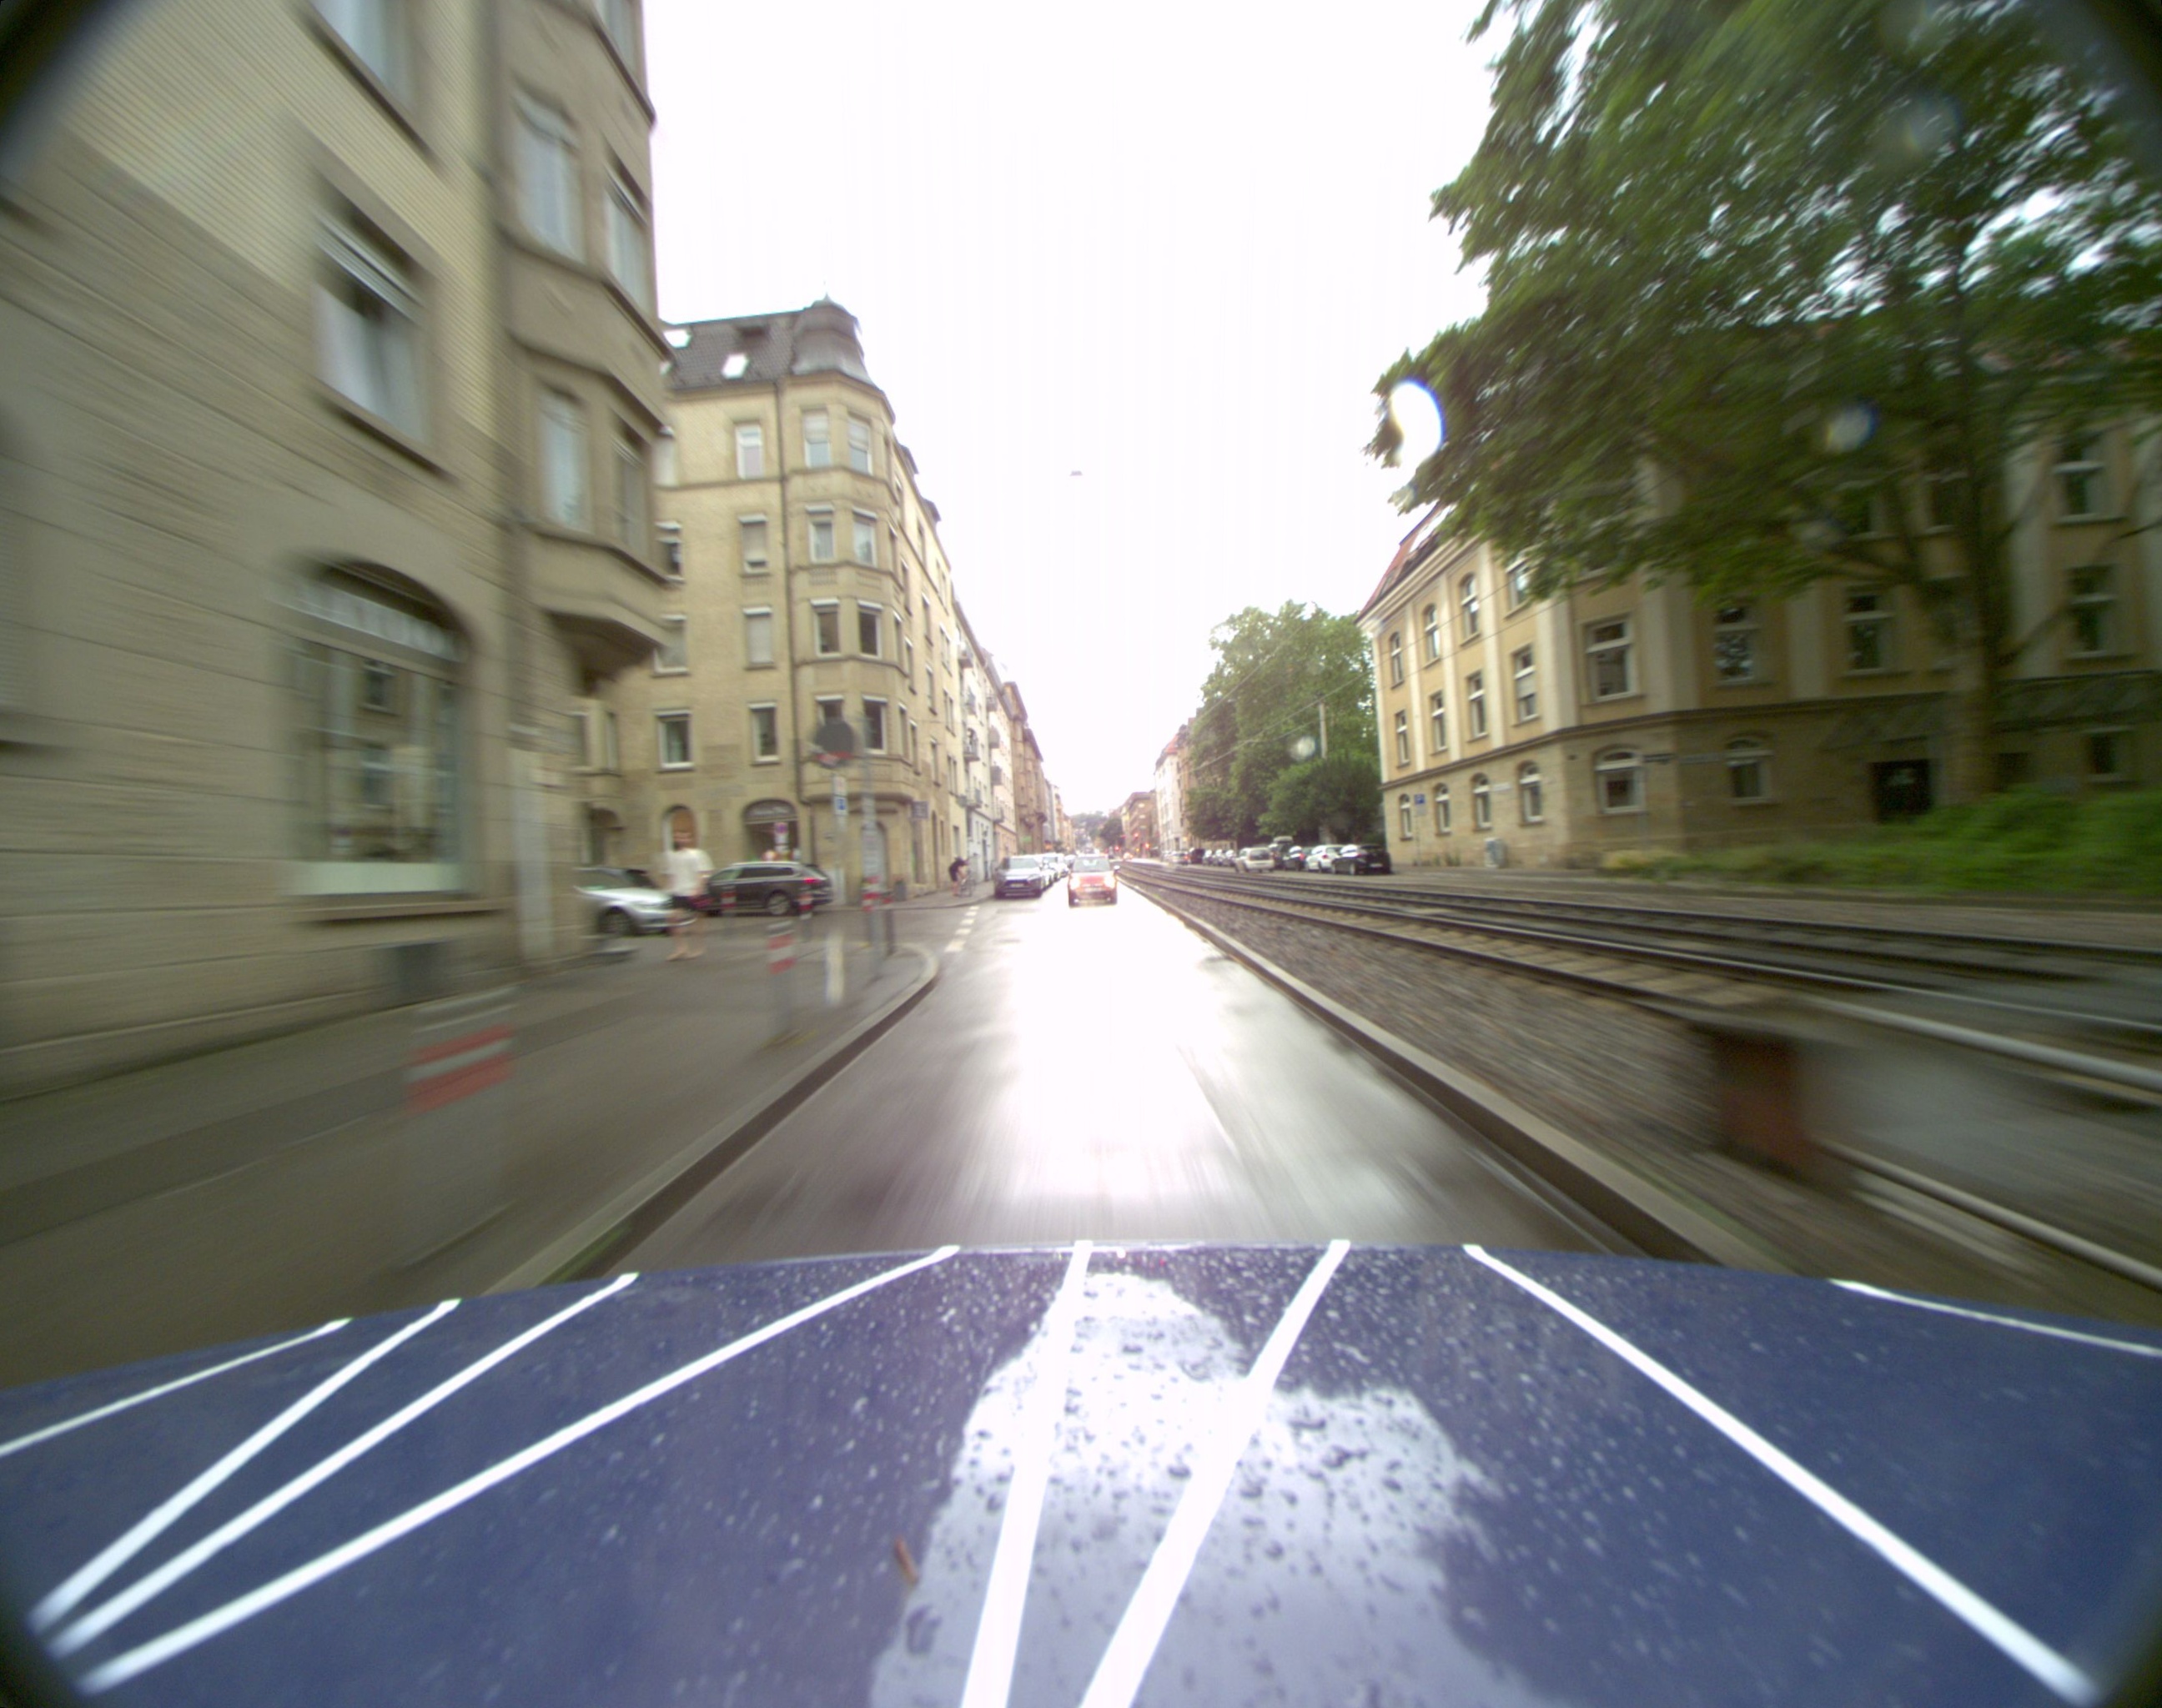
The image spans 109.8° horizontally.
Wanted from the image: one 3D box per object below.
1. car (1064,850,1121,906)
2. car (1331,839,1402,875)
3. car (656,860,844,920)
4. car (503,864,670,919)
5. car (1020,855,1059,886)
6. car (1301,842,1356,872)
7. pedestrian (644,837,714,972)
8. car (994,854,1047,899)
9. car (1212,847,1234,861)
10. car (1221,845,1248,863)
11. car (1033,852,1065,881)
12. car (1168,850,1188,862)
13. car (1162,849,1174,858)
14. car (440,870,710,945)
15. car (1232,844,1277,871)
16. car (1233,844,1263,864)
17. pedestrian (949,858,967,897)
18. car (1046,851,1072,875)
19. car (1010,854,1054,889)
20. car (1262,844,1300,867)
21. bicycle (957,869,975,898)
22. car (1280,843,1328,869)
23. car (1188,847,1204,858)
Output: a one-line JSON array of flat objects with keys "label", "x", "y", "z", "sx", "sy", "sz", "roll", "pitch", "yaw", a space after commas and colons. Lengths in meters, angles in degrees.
[{"label": "car", "x": 0.363, "y": 0.757, "z": 24.555, "sx": 1.620, "sy": 1.592, "sz": 4.067, "roll": -3, "pitch": -1, "yaw": 1}, {"label": "car", "x": 13.265, "y": 0.113, "z": 35.568, "sx": 1.892, "sy": 1.468, "sz": 3.807, "roll": -4, "pitch": 0, "yaw": 1}, {"label": "car", "x": -9.215, "y": 1.011, "z": 21.385, "sx": 4.506, "sy": 1.490, "sz": 1.780, "roll": -2, "pitch": -2, "yaw": 2}, {"label": "car", "x": -14.279, "y": 1.087, "z": 22.070, "sx": 3.843, "sy": 1.440, "sz": 1.613, "roll": -2, "pitch": -2, "yaw": 3}, {"label": "car", "x": -2.164, "y": 0.880, "z": 40.804, "sx": 1.745, "sy": 1.507, "sz": 4.000, "roll": -3, "pitch": 0, "yaw": 1}, {"label": "car", "x": 13.015, "y": 0.160, "z": 40.120, "sx": 1.646, "sy": 1.392, "sz": 3.516, "roll": -3, "pitch": 0, "yaw": -1}, {"label": "pedestrian", "x": -5.352, "y": 0.662, "z": 10.140, "sx": 0.580, "sy": 1.741, "sz": 0.574, "roll": -2, "pitch": -1, "yaw": 1}, {"label": "car", "x": -2.327, "y": 0.847, "z": 30.304, "sx": 1.745, "sy": 1.577, "sz": 4.000, "roll": -3, "pitch": 0, "yaw": 0}, {"label": "car", "x": 12.861, "y": 0.025, "z": 69.034, "sx": 1.326, "sy": 1.159, "sz": 2.909, "roll": -3, "pitch": 0, "yaw": -2}, {"label": "car", "x": 12.958, "y": 0.002, "z": 64.252, "sx": 1.402, "sy": 1.371, "sz": 3.314, "roll": -3, "pitch": 0, "yaw": -2}, {"label": "car", "x": -2.027, "y": 0.770, "z": 49.137, "sx": 1.745, "sy": 1.729, "sz": 4.000, "roll": -3, "pitch": 0, "yaw": 1}, {"label": "car", "x": 10.064, "y": 0.216, "z": 79.080, "sx": 1.572, "sy": 1.159, "sz": 2.909, "roll": -3, "pitch": 0, "yaw": -3}, {"label": "car", "x": 13.083, "y": -0.086, "z": 114.739, "sx": 1.326, "sy": 1.159, "sz": 2.910, "roll": -3, "pitch": 0, "yaw": -1}, {"label": "car", "x": -9.933, "y": 1.024, "z": 15.122, "sx": 4.214, "sy": 1.361, "sz": 1.798, "roll": -1, "pitch": 0, "yaw": 3}, {"label": "car", "x": 10.303, "y": 0.196, "z": 45.333, "sx": 1.687, "sy": 1.468, "sz": 3.311, "roll": -4, "pitch": 0, "yaw": -4}, {"label": "car", "x": 13.063, "y": -0.001, "z": 59.507, "sx": 1.402, "sy": 1.499, "sz": 3.314, "roll": -3, "pitch": 0, "yaw": -2}, {"label": "pedestrian", "x": -4.526, "y": 0.856, "z": 27.853, "sx": 0.510, "sy": 1.363, "sz": 0.404, "roll": -2, "pitch": 1, "yaw": -26}, {"label": "car", "x": -1.669, "y": 0.687, "z": 58.353, "sx": 1.745, "sy": 1.649, "sz": 4.000, "roll": -3, "pitch": 0, "yaw": 1}, {"label": "car", "x": -2.284, "y": 0.819, "z": 36.418, "sx": 1.745, "sy": 1.507, "sz": 4.000, "roll": -3, "pitch": 0, "yaw": 1}, {"label": "car", "x": 13.028, "y": 0.127, "z": 49.715, "sx": 1.484, "sy": 1.392, "sz": 3.282, "roll": -3, "pitch": 0, "yaw": -2}, {"label": "bicycle", "x": -4.230, "y": 1.080, "z": 28.044, "sx": 0.339, "sy": 1.008, "sz": 1.675, "roll": 0, "pitch": -1, "yaw": 2}, {"label": "car", "x": 13.069, "y": 0.102, "z": 44.732, "sx": 1.646, "sy": 1.392, "sz": 3.516, "roll": -3, "pitch": 0, "yaw": -1}, {"label": "car", "x": 13.142, "y": -0.119, "z": 86.784, "sx": 1.326, "sy": 1.159, "sz": 2.909, "roll": -3, "pitch": 0, "yaw": -1}]
